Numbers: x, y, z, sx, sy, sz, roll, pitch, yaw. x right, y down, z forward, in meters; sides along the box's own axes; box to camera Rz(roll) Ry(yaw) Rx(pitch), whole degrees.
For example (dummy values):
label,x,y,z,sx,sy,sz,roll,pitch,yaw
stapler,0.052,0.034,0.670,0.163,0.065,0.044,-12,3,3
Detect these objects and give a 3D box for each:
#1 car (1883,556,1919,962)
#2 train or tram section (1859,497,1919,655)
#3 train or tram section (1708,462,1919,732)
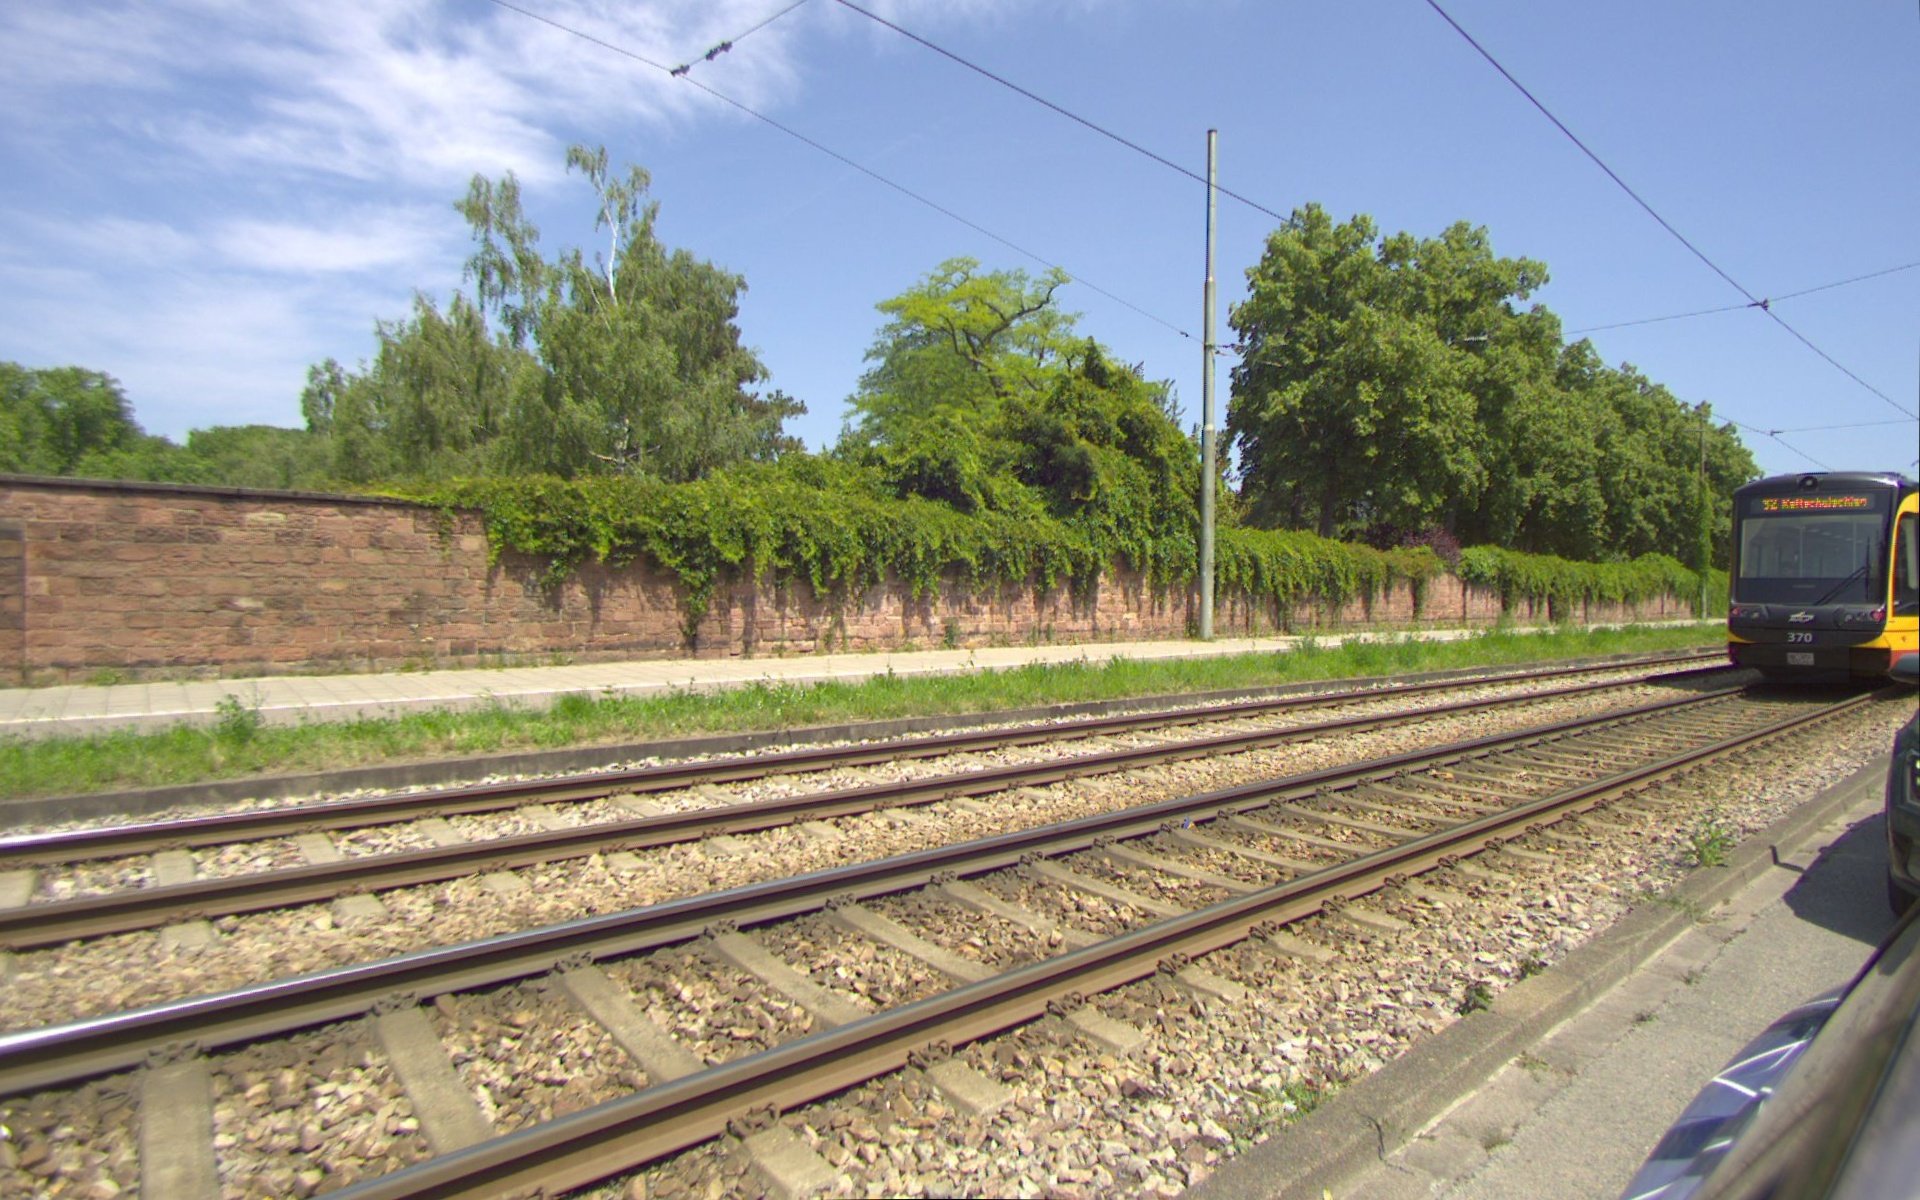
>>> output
label,x,y,z,sx,sy,sz,roll,pitch,yaw
car,5.932,0.629,4.838,4.349,1.603,1.757,0,0,-41
train or tram section,28.885,-0.659,28.952,14.010,3.859,2.782,-1,0,-40
train or tram section,18.275,-0.122,19.853,14.013,3.855,2.811,-1,0,-41
